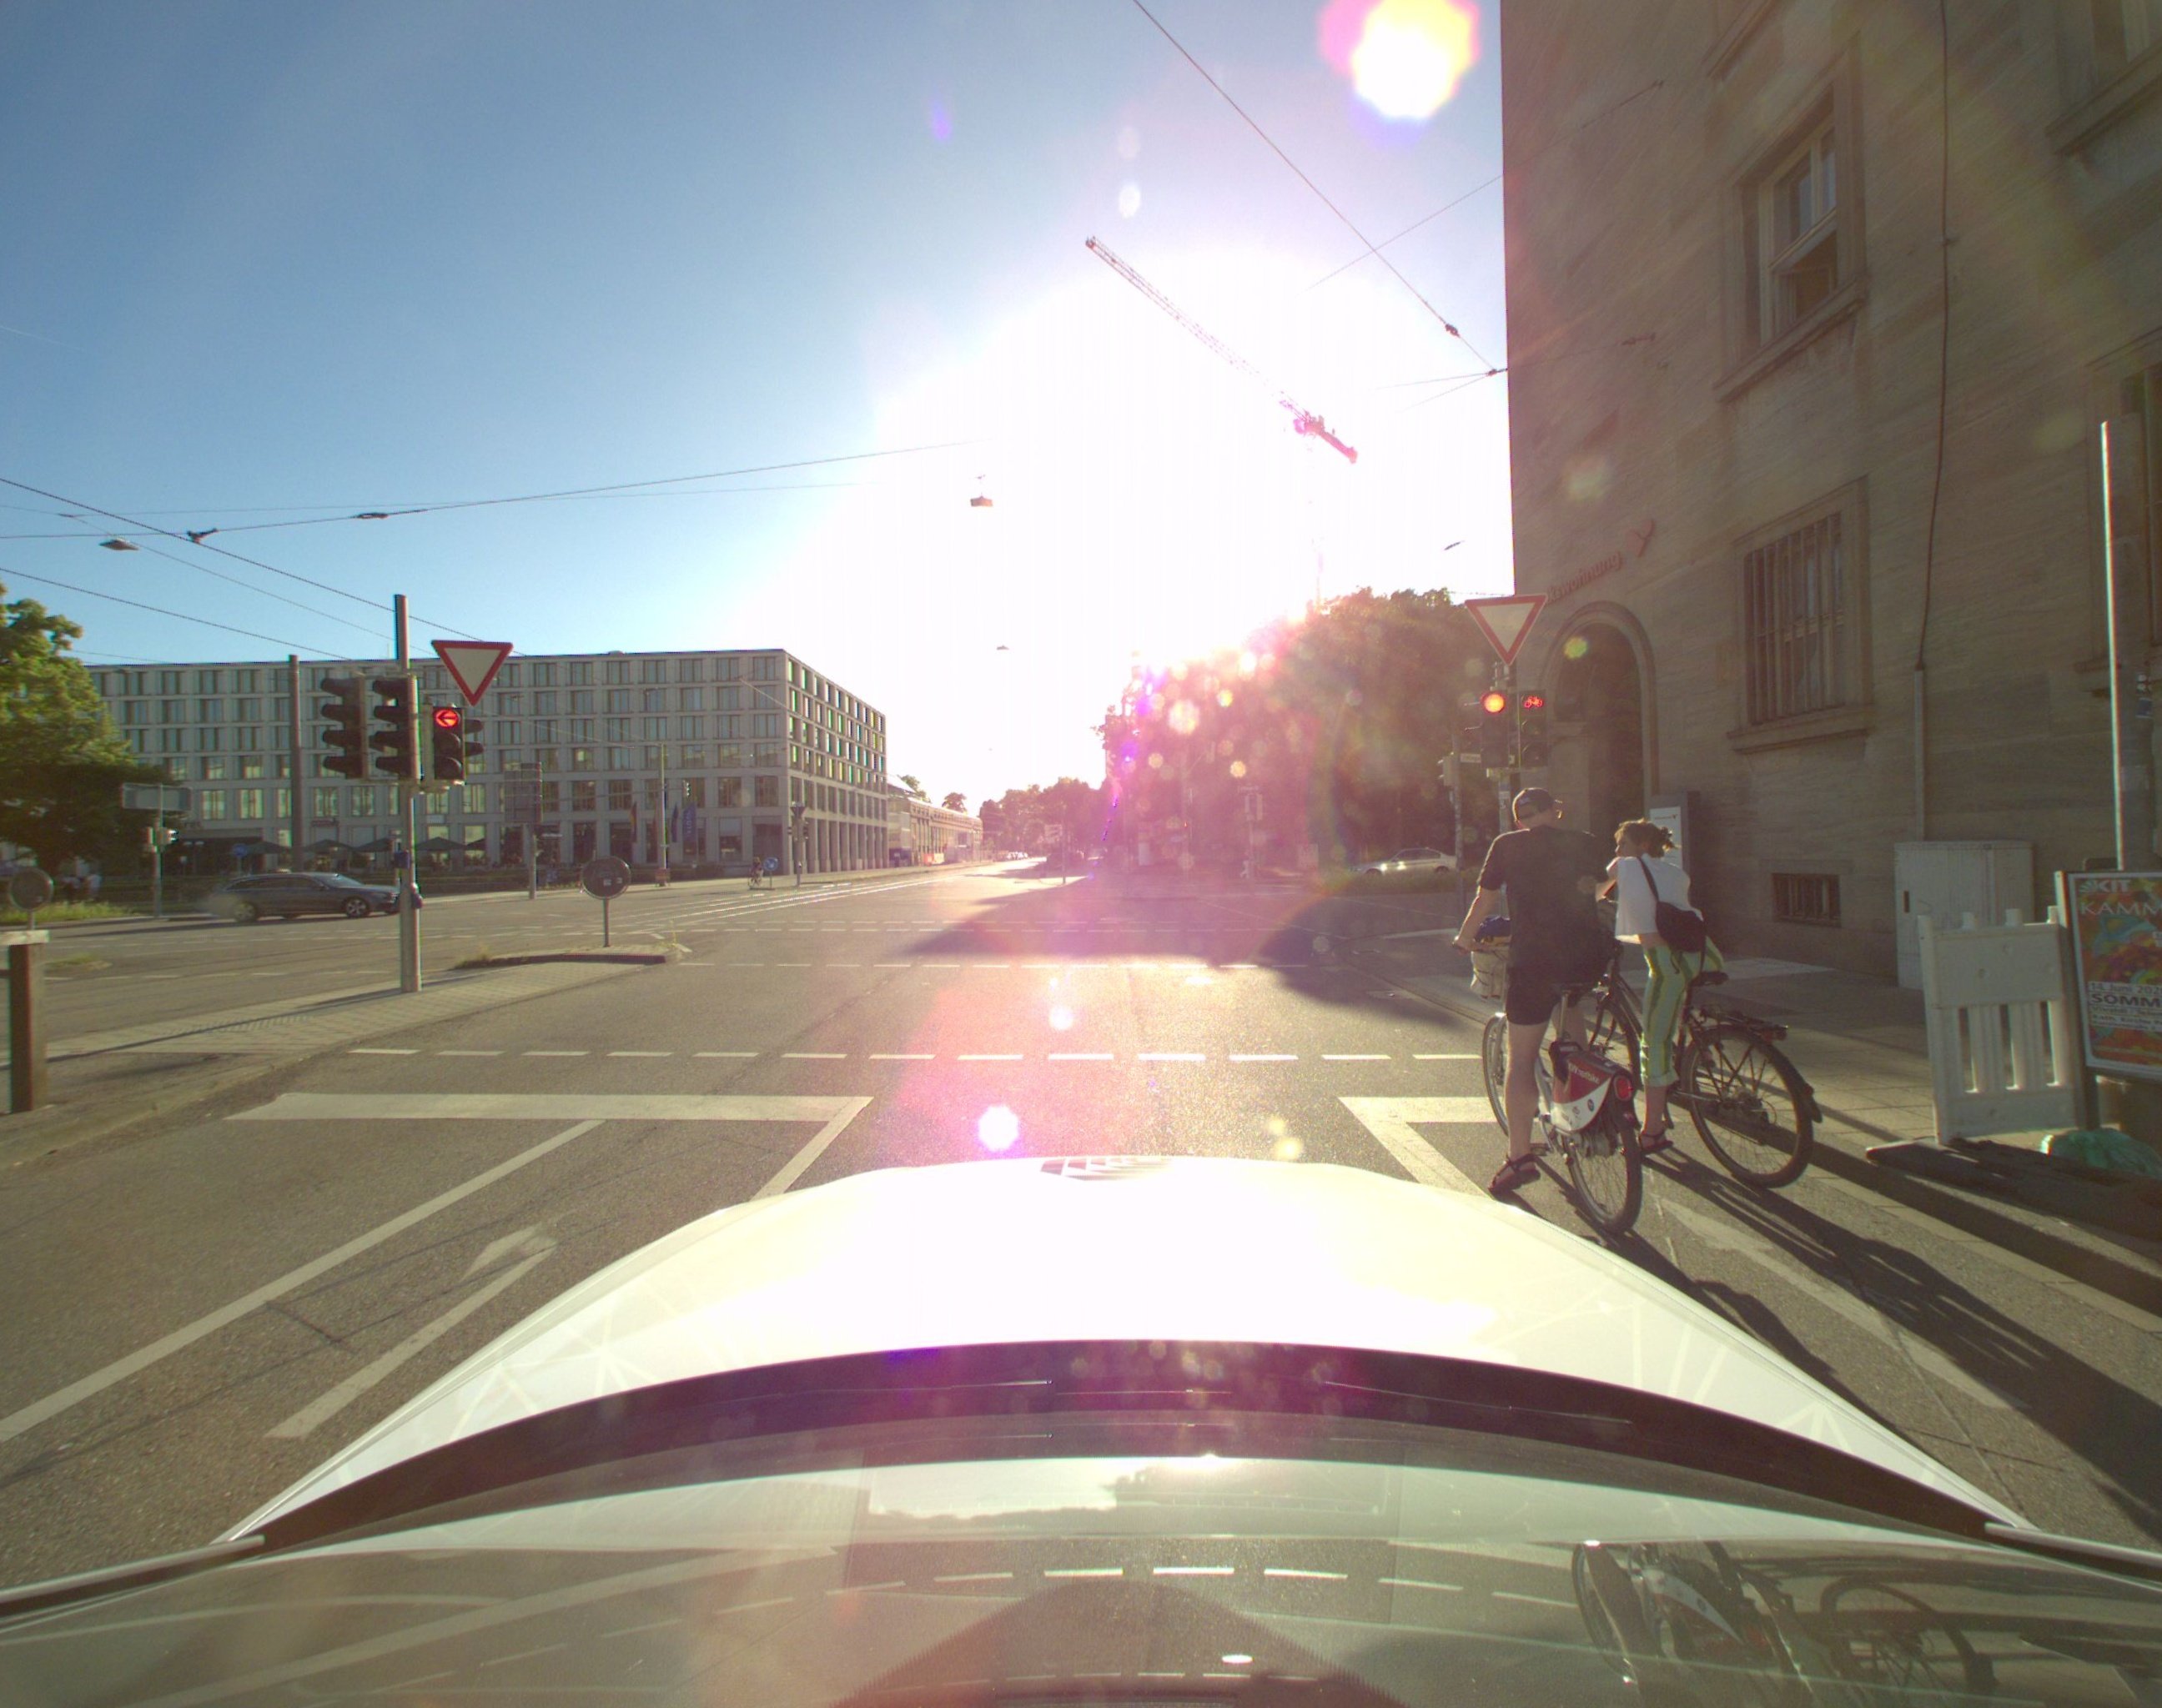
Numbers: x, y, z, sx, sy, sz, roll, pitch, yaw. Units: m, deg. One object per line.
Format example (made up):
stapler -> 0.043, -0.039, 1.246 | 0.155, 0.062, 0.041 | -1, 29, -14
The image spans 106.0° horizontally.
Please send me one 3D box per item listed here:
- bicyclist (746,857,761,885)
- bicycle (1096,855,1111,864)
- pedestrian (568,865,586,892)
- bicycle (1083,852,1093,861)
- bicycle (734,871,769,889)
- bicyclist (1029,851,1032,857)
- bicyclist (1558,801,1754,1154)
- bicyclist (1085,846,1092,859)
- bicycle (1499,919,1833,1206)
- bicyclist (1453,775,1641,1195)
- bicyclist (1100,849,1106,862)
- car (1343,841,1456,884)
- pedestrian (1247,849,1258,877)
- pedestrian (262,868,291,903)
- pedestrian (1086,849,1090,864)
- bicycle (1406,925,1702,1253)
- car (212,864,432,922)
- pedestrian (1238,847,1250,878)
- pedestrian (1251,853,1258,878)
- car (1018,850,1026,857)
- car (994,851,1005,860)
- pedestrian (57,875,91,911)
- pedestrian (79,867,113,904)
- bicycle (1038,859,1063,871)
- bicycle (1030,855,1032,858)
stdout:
bicyclist -> -19.402, 0.993, 48.298 | 0.778, 1.589, 0.755 | -2, 0, -24
bicycle -> 2.852, 0.651, 104.138 | 1.816, 1.077, 0.578 | -2, 0, 4
pedestrian -> -29.802, 1.451, 48.135 | 0.589, 1.589, 0.775 | -2, 0, -9
bicycle -> 0.922, 0.295, 103.736 | 0.577, 1.077, 1.817 | -1, 0, -21
bicycle -> -19.538, 1.529, 48.268 | 1.865, 0.935, 0.757 | -2, 0, -23
bicyclist -> -10.791, 0.024, 175.689 | 0.594, 1.377, 0.637 | 0, -1, 0
bicyclist -> 2.958, 0.594, 4.245 | 0.556, 1.691, 0.640 | -1, 0, 0
bicyclist -> 0.936, -0.175, 103.770 | 0.571, 1.691, 0.694 | -1, 0, -21
bicycle -> 2.947, 0.961, 4.352 | 0.532, 1.077, 1.751 | -1, 0, 1
bicyclist -> 2.127, 0.564, 3.778 | 0.556, 1.799, 0.551 | -1, 0, 3
bicyclist -> 2.849, 0.154, 104.133 | 0.694, 1.691, 0.572 | -2, 0, 4
car -> 12.940, 0.337, 33.246 | 3.979, 1.611, 1.650 | -2, 0, 1
pedestrian -> 9.345, 0.496, 44.388 | 0.437, 1.503, 0.437 | -2, 0, 3
pedestrian -> -44.248, 1.718, 44.809 | 0.712, 1.900, 0.876 | 0, -1, 7
pedestrian -> 0.817, 0.251, 98.583 | 0.462, 1.813, 0.502 | -2, 0, -3
bicycle -> 2.125, 0.960, 3.935 | 0.513, 1.077, 1.729 | -1, 0, 4
car -> -24.016, 1.193, 25.968 | 4.794, 1.565, 1.891 | -2, 0, -11
pedestrian -> 8.807, 0.446, 44.000 | 0.580, 1.663, 0.515 | 0, 1, 4
pedestrian -> 9.233, 0.630, 43.341 | 0.316, 1.316, 0.345 | 0, 1, 4
car -> -14.228, -0.114, 195.321 | 1.688, 1.718, 4.245 | 0, -1, -1
car -> -15.659, 0.268, 157.072 | 1.688, 1.718, 4.245 | 0, -1, -1
pedestrian -> -54.428, 2.080, 44.028 | 0.713, 1.900, 0.875 | 0, -1, 0
pedestrian -> -54.410, 1.756, 44.996 | 0.839, 2.014, 0.825 | 0, -1, 2
bicycle -> -2.565, 0.909, 67.703 | 1.996, 0.891, 0.655 | -4, -1, 29
bicycle -> -10.801, 0.582, 175.754 | 0.499, 0.515, 1.258 | 0, -1, 1
